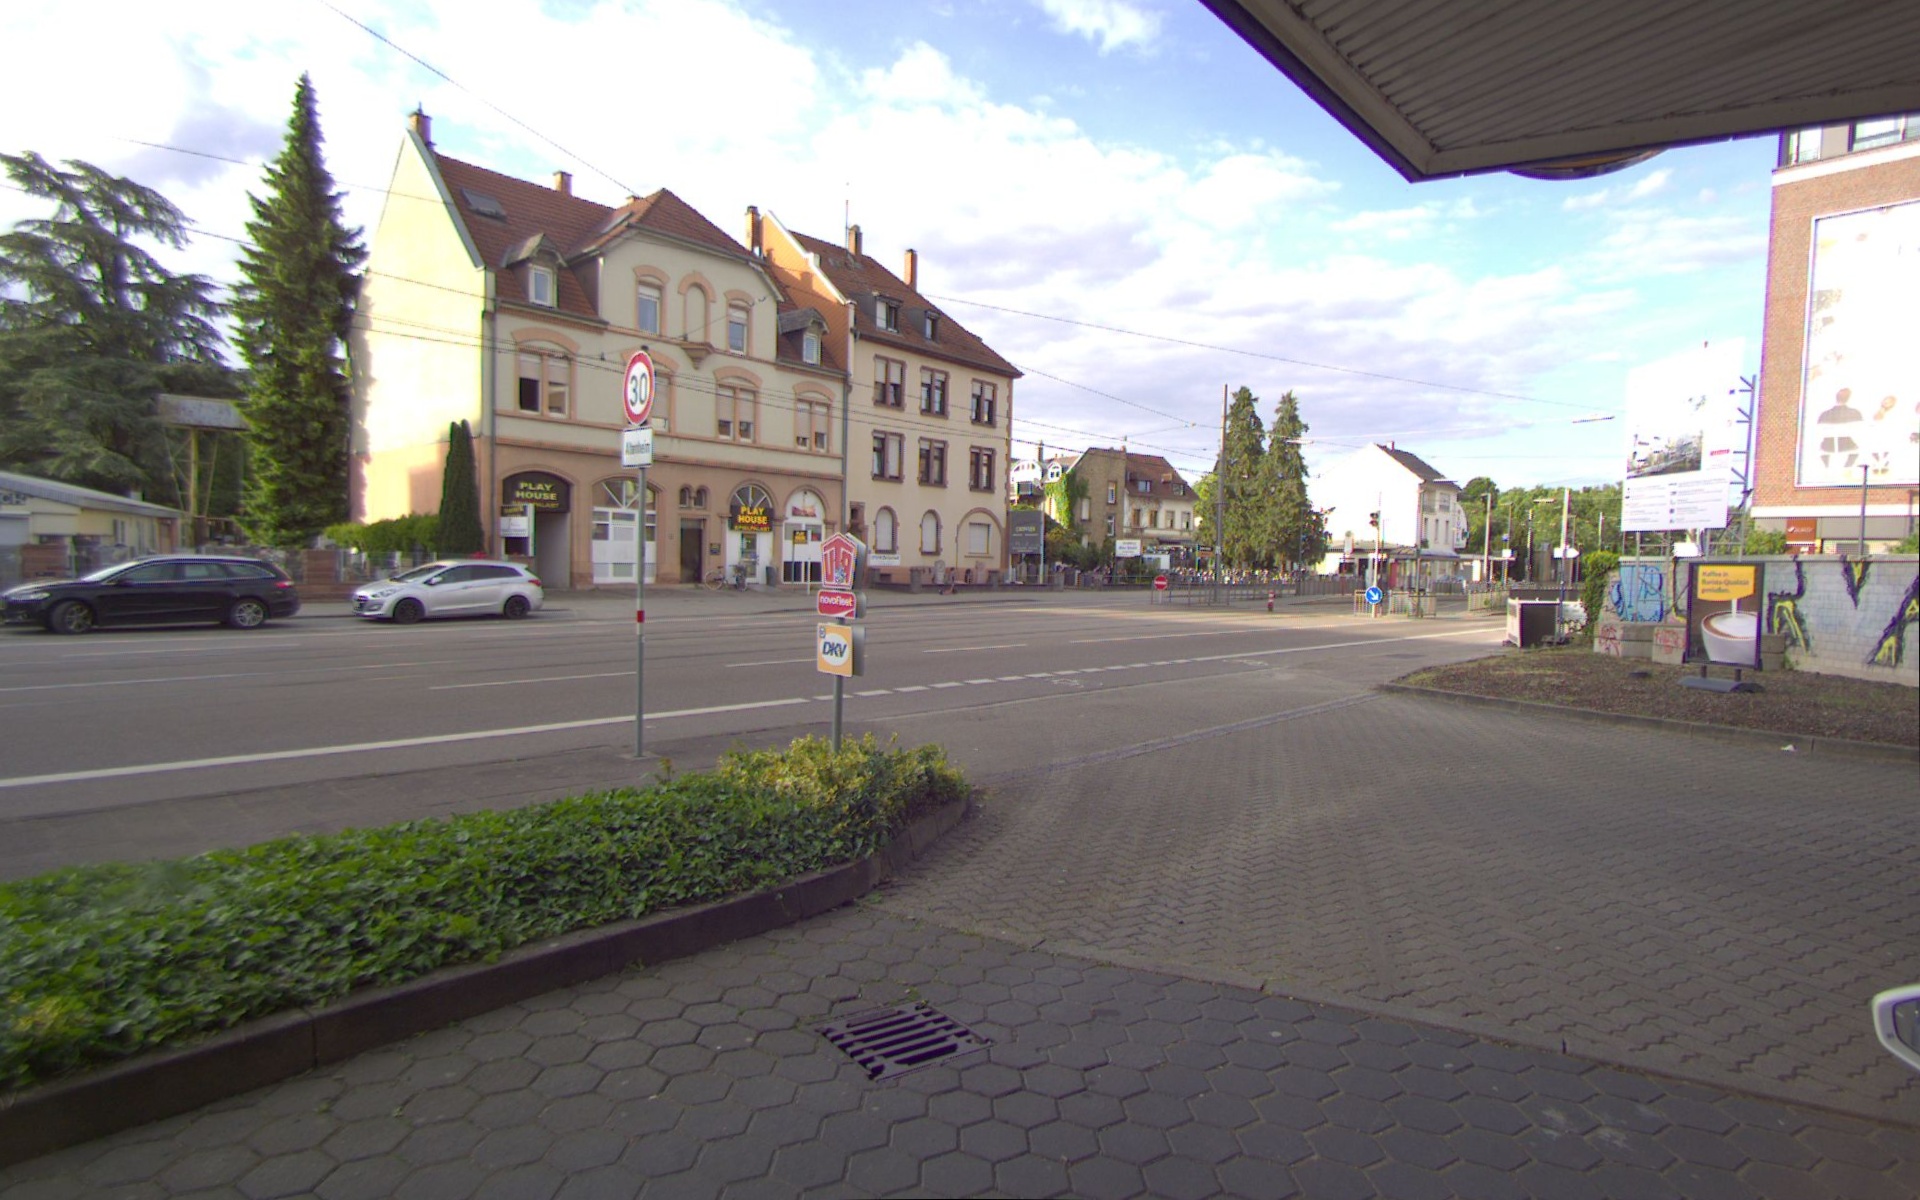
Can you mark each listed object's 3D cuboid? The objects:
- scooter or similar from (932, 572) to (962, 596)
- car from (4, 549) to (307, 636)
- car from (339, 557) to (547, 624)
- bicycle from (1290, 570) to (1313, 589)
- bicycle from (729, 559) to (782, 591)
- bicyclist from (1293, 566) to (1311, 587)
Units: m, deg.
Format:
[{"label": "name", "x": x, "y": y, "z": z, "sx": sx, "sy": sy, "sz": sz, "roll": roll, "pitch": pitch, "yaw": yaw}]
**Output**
[{"label": "scooter or similar", "x": -0.573, "y": -0.716, "z": 45.087, "sx": 0.437, "sy": 1.006, "sz": 1.460, "roll": 6, "pitch": 5, "yaw": 41}, {"label": "car", "x": -16.493, "y": -0.176, "z": 20.811, "sx": 1.827, "sy": 1.542, "sz": 4.642, "roll": 5, "pitch": 4, "yaw": 40}, {"label": "car", "x": -12.935, "y": -0.252, "z": 25.350, "sx": 1.718, "sy": 1.502, "sz": 4.357, "roll": 3, "pitch": 2, "yaw": 41}, {"label": "bicycle", "x": 24.139, "y": -1.441, "z": 70.994, "sx": 0.742, "sy": 1.219, "sz": 1.810, "roll": 8, "pitch": 6, "yaw": 44}, {"label": "bicycle", "x": -8.254, "y": -1.004, "z": 40.621, "sx": 0.741, "sy": 1.219, "sz": 2.011, "roll": 8, "pitch": 5, "yaw": 41}, {"label": "bicyclist", "x": 24.170, "y": -1.688, "z": 71.011, "sx": 0.742, "sy": 1.428, "sz": 0.915, "roll": 8, "pitch": 7, "yaw": 44}]
